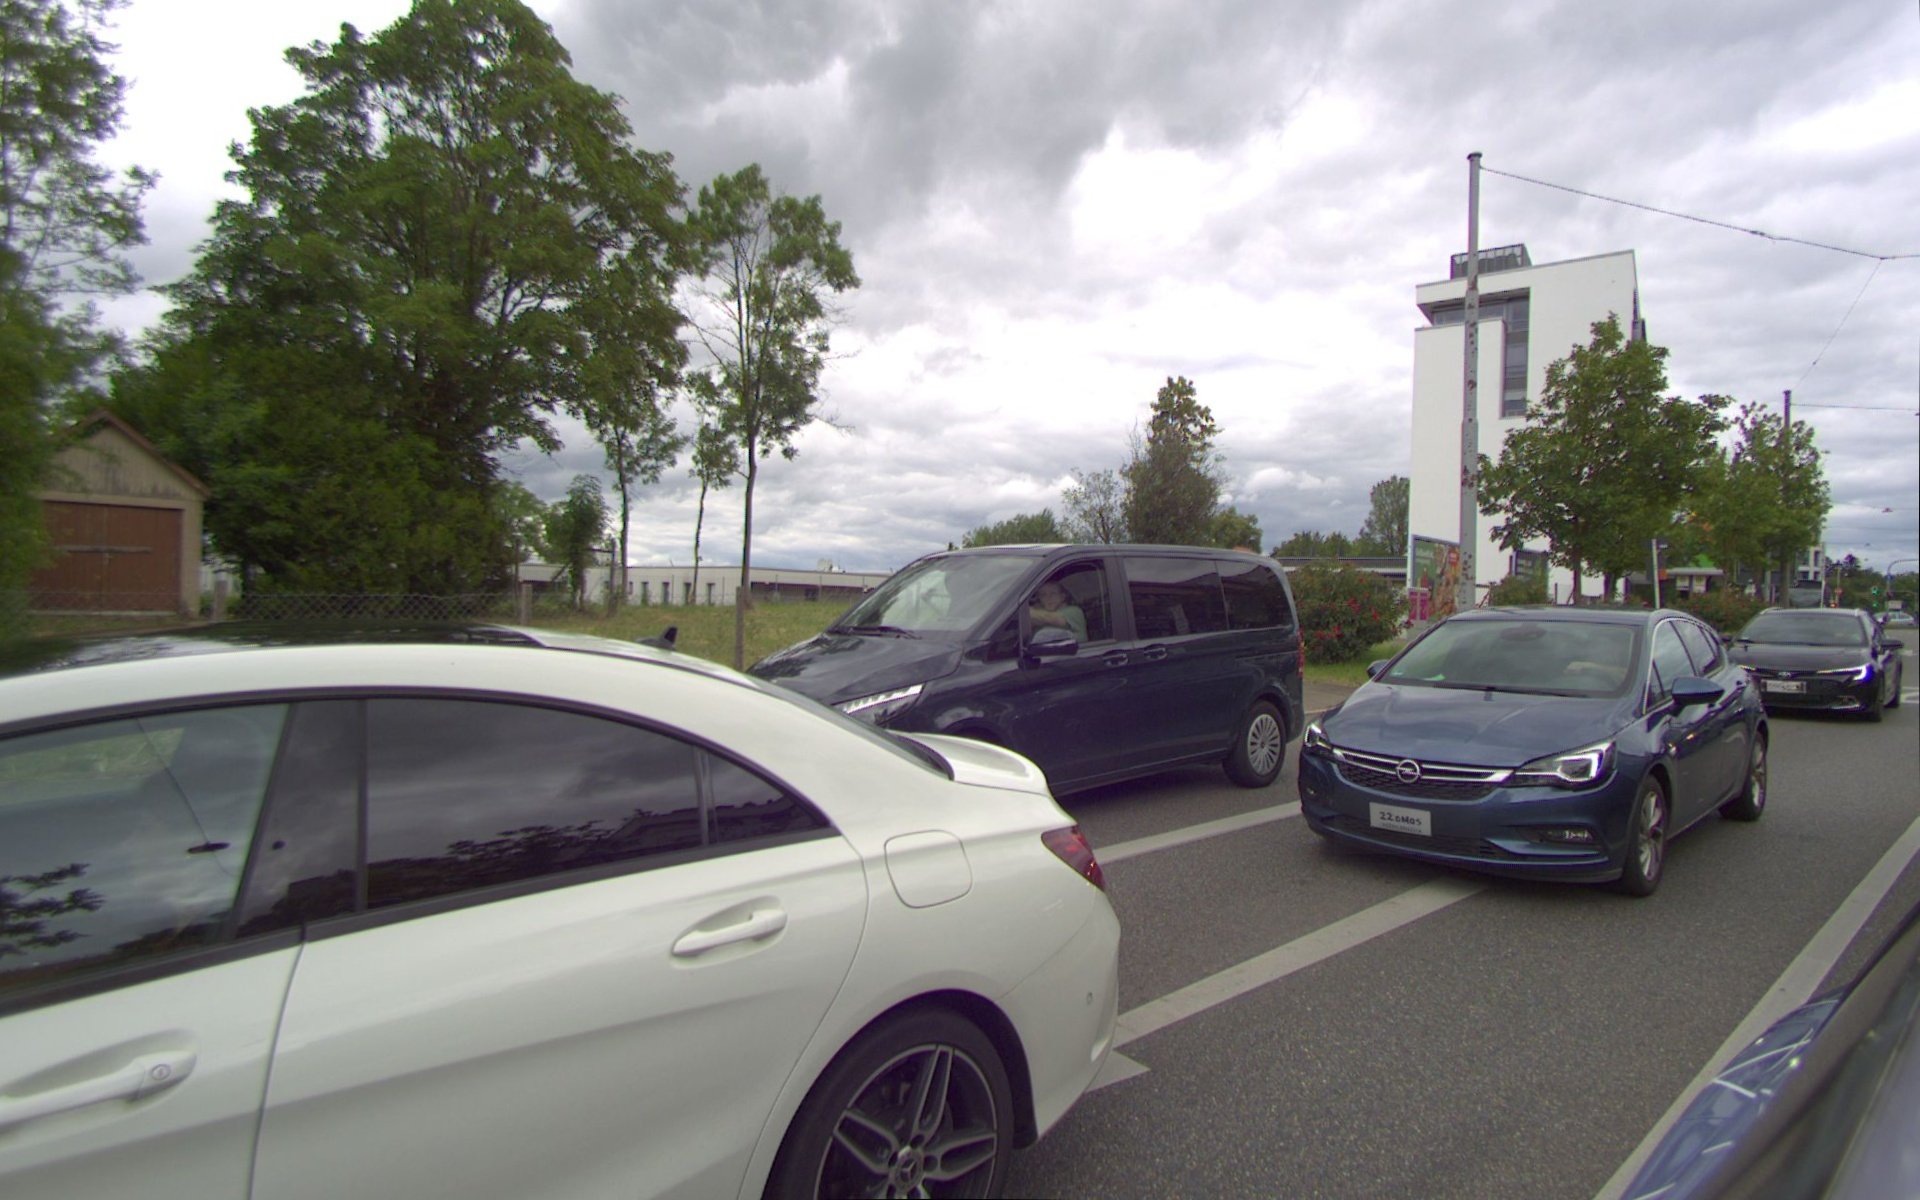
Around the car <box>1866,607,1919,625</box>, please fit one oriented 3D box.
[{"bbox_3d":[85.346,1.471,92.202,3.716,1.637,1.850,0,-1,5],"label":"car"}]

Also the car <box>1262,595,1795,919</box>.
[{"bbox_3d":[3.810,0.686,6.486,3.931,1.428,1.825,0,0,-42],"label":"car"}]

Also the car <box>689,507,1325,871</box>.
[{"bbox_3d":[0.587,0.451,7.449,4.627,1.863,1.952,0,-1,-41],"label":"car"}]

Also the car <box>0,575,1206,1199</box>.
[{"bbox_3d":[-1.537,0.692,1.818,4.300,1.451,1.652,0,1,-41],"label":"car"}]

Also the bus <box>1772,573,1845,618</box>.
[{"bbox_3d":[53.952,-0.328,64.579,2.952,2.664,11.986,0,1,37],"label":"bus"}]

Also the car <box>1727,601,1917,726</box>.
[{"bbox_3d":[12.046,0.755,14.059,3.856,1.475,1.662,0,0,-44],"label":"car"}]

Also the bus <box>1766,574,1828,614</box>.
[{"bbox_3d":[61.419,-0.464,74.480,2.952,2.664,12.751,0,1,37],"label":"bus"}]
